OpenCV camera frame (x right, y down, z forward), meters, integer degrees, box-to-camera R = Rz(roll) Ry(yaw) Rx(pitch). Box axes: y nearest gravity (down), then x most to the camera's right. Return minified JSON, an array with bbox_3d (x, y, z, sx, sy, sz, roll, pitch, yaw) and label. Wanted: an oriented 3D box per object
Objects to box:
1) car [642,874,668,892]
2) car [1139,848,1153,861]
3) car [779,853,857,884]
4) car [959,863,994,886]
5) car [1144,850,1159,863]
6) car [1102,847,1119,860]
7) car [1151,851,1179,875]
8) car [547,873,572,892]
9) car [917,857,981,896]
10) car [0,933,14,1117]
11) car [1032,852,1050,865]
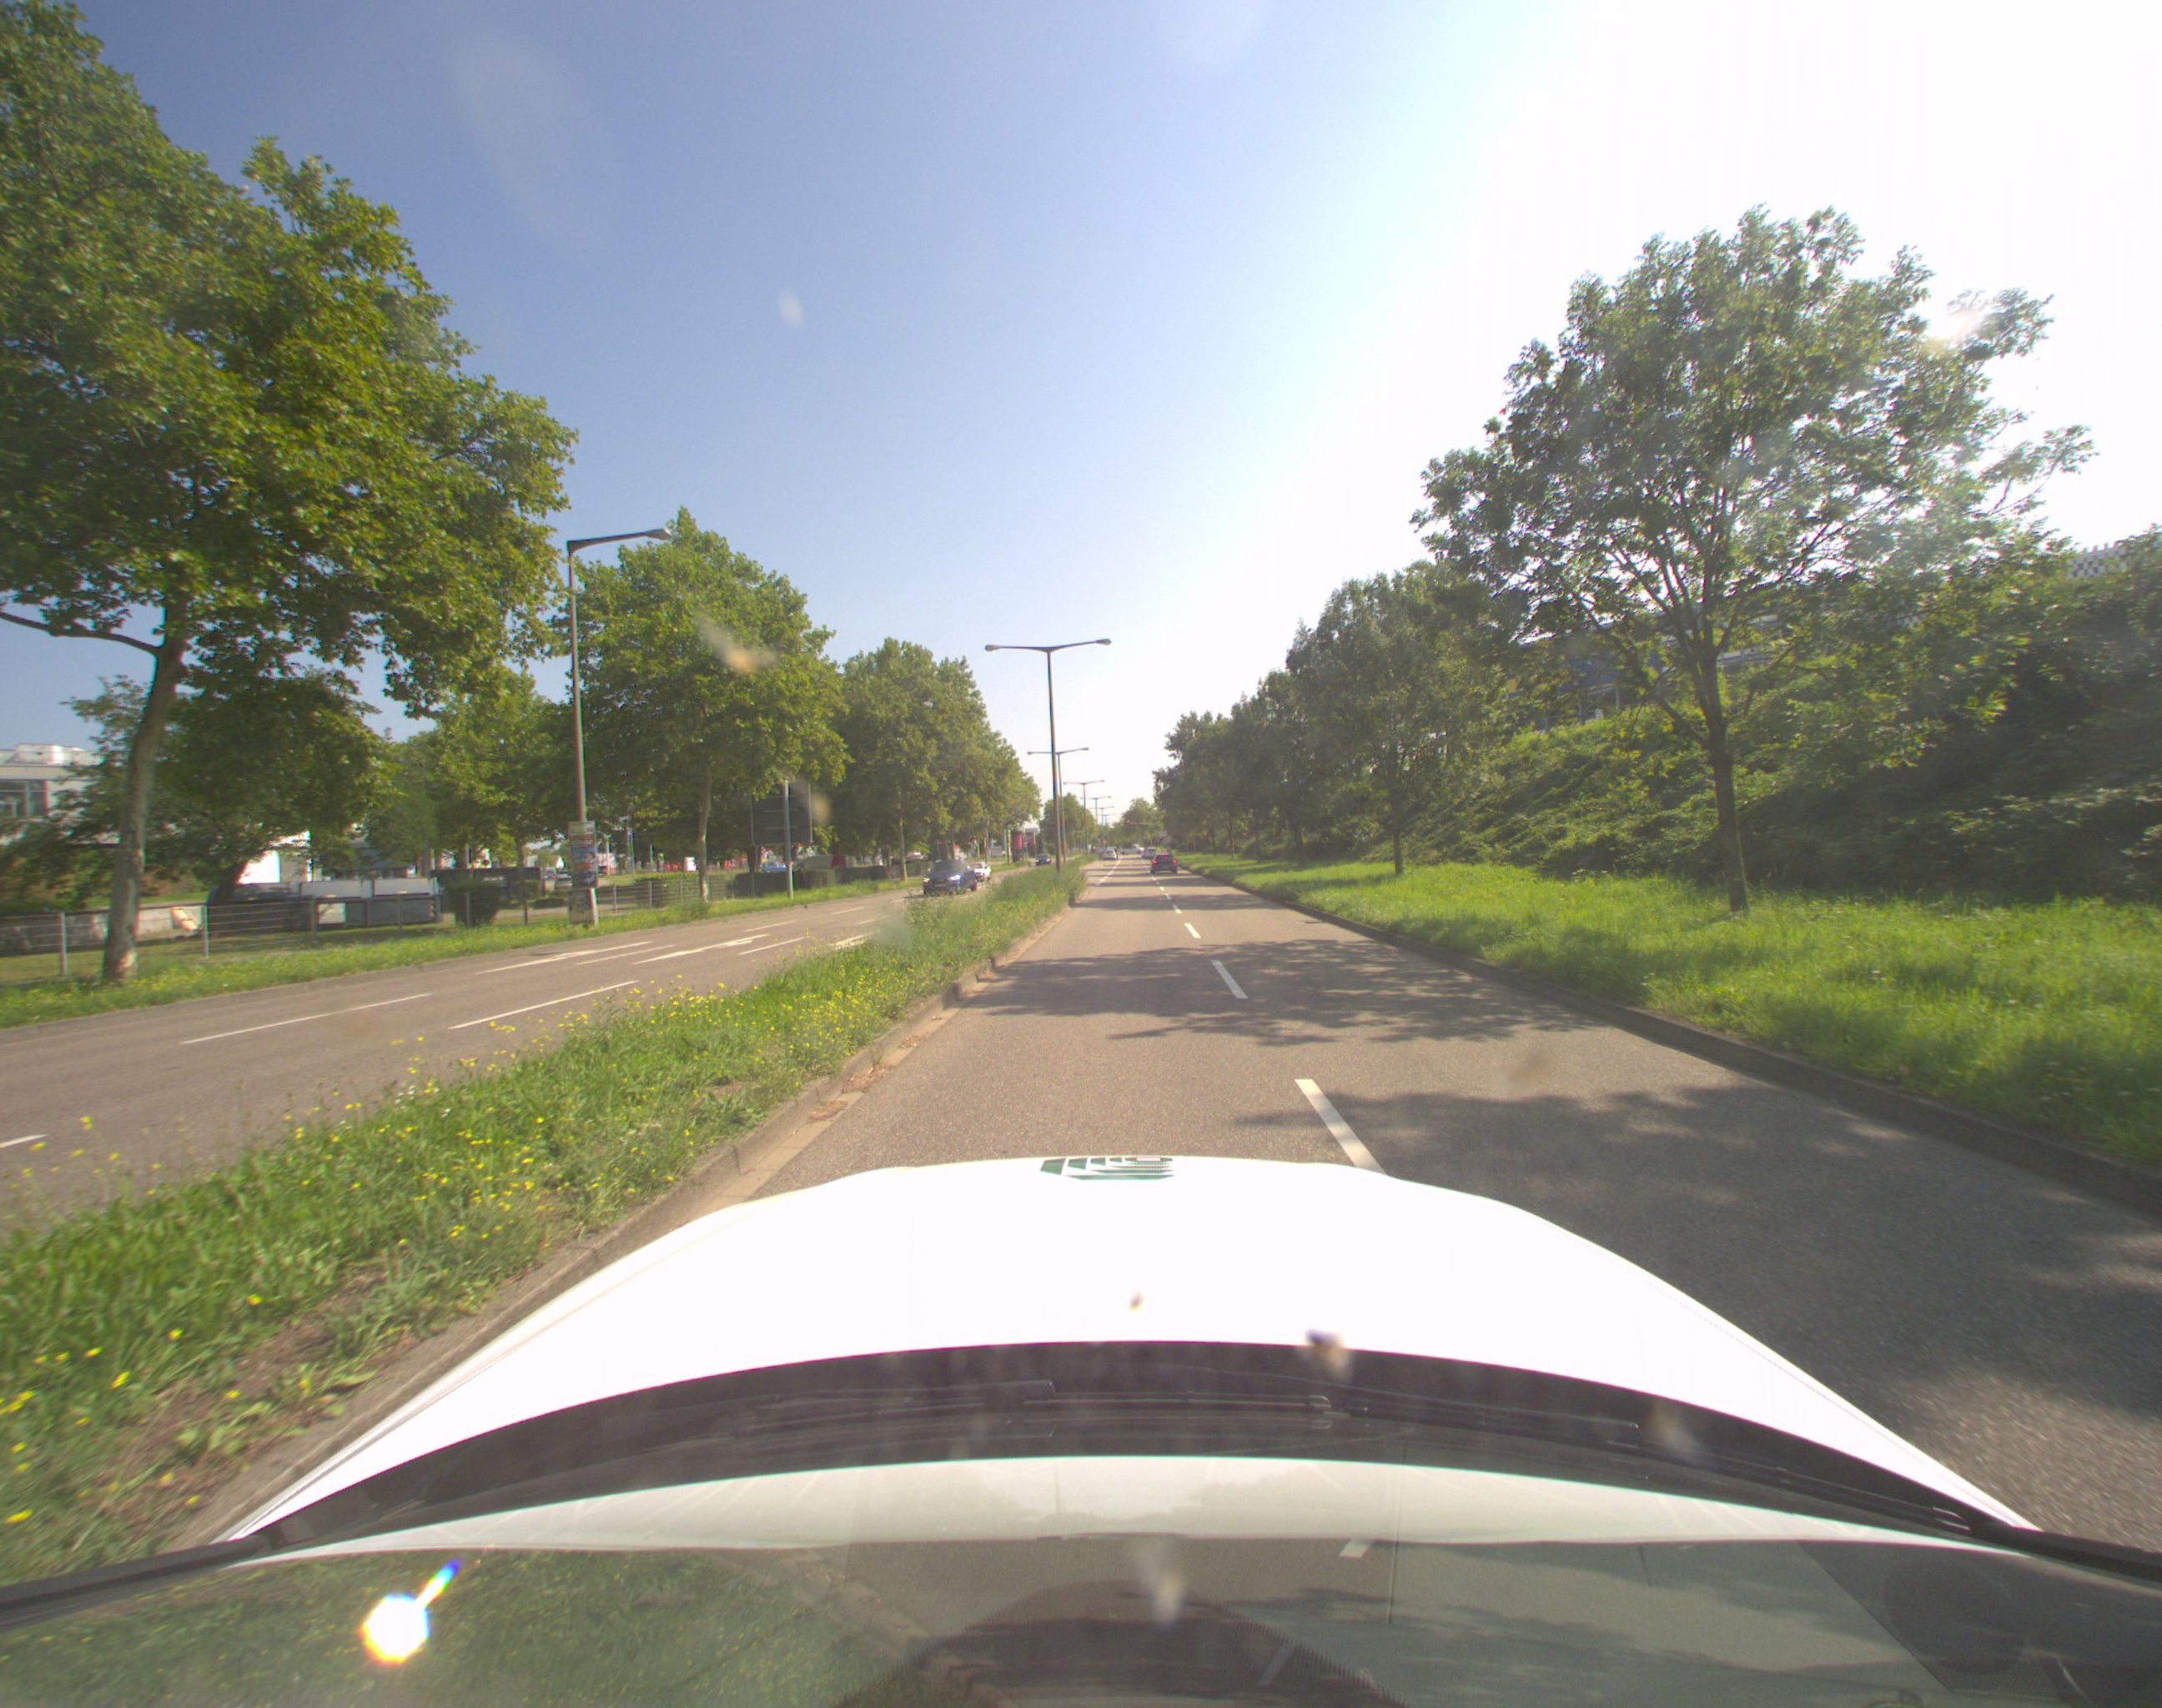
[{"bbox_3d":[-42.807,2.912,81.789,1.939,1.452,3.960,-3,3,-32],"label":"car"},{"bbox_3d":[10.455,0.120,130.638,1.986,1.653,4.005,-3,5,2],"label":"car"},{"bbox_3d":[-21.382,1.164,66.394,5.563,2.336,2.280,-1,2,2],"label":"car"},{"bbox_3d":[-7.285,1.391,57.285,1.789,1.417,4.409,-4,-1,0],"label":"car"},{"bbox_3d":[10.042,0.357,116.777,1.985,1.654,4.003,-3,0,3],"label":"car"},{"bbox_3d":[4.016,-0.062,109.296,1.984,1.702,4.006,-3,0,5],"label":"car"},{"bbox_3d":[5.927,0.628,57.817,1.773,1.427,4.005,-1,3,3],"label":"car"},{"bbox_3d":[-50.041,2.683,78.218,1.939,1.452,3.960,-3,3,-32],"label":"car"},{"bbox_3d":[-5.922,0.985,37.058,1.986,1.585,4.348,-2,0,2],"label":"car"},{"bbox_3d":[-8.183,1.075,3.329,1.697,1.489,4.317,-5,0,4],"label":"car"},{"bbox_3d":[-4.763,0.536,97.453,1.789,1.417,4.411,-4,0,1],"label":"car"}]
